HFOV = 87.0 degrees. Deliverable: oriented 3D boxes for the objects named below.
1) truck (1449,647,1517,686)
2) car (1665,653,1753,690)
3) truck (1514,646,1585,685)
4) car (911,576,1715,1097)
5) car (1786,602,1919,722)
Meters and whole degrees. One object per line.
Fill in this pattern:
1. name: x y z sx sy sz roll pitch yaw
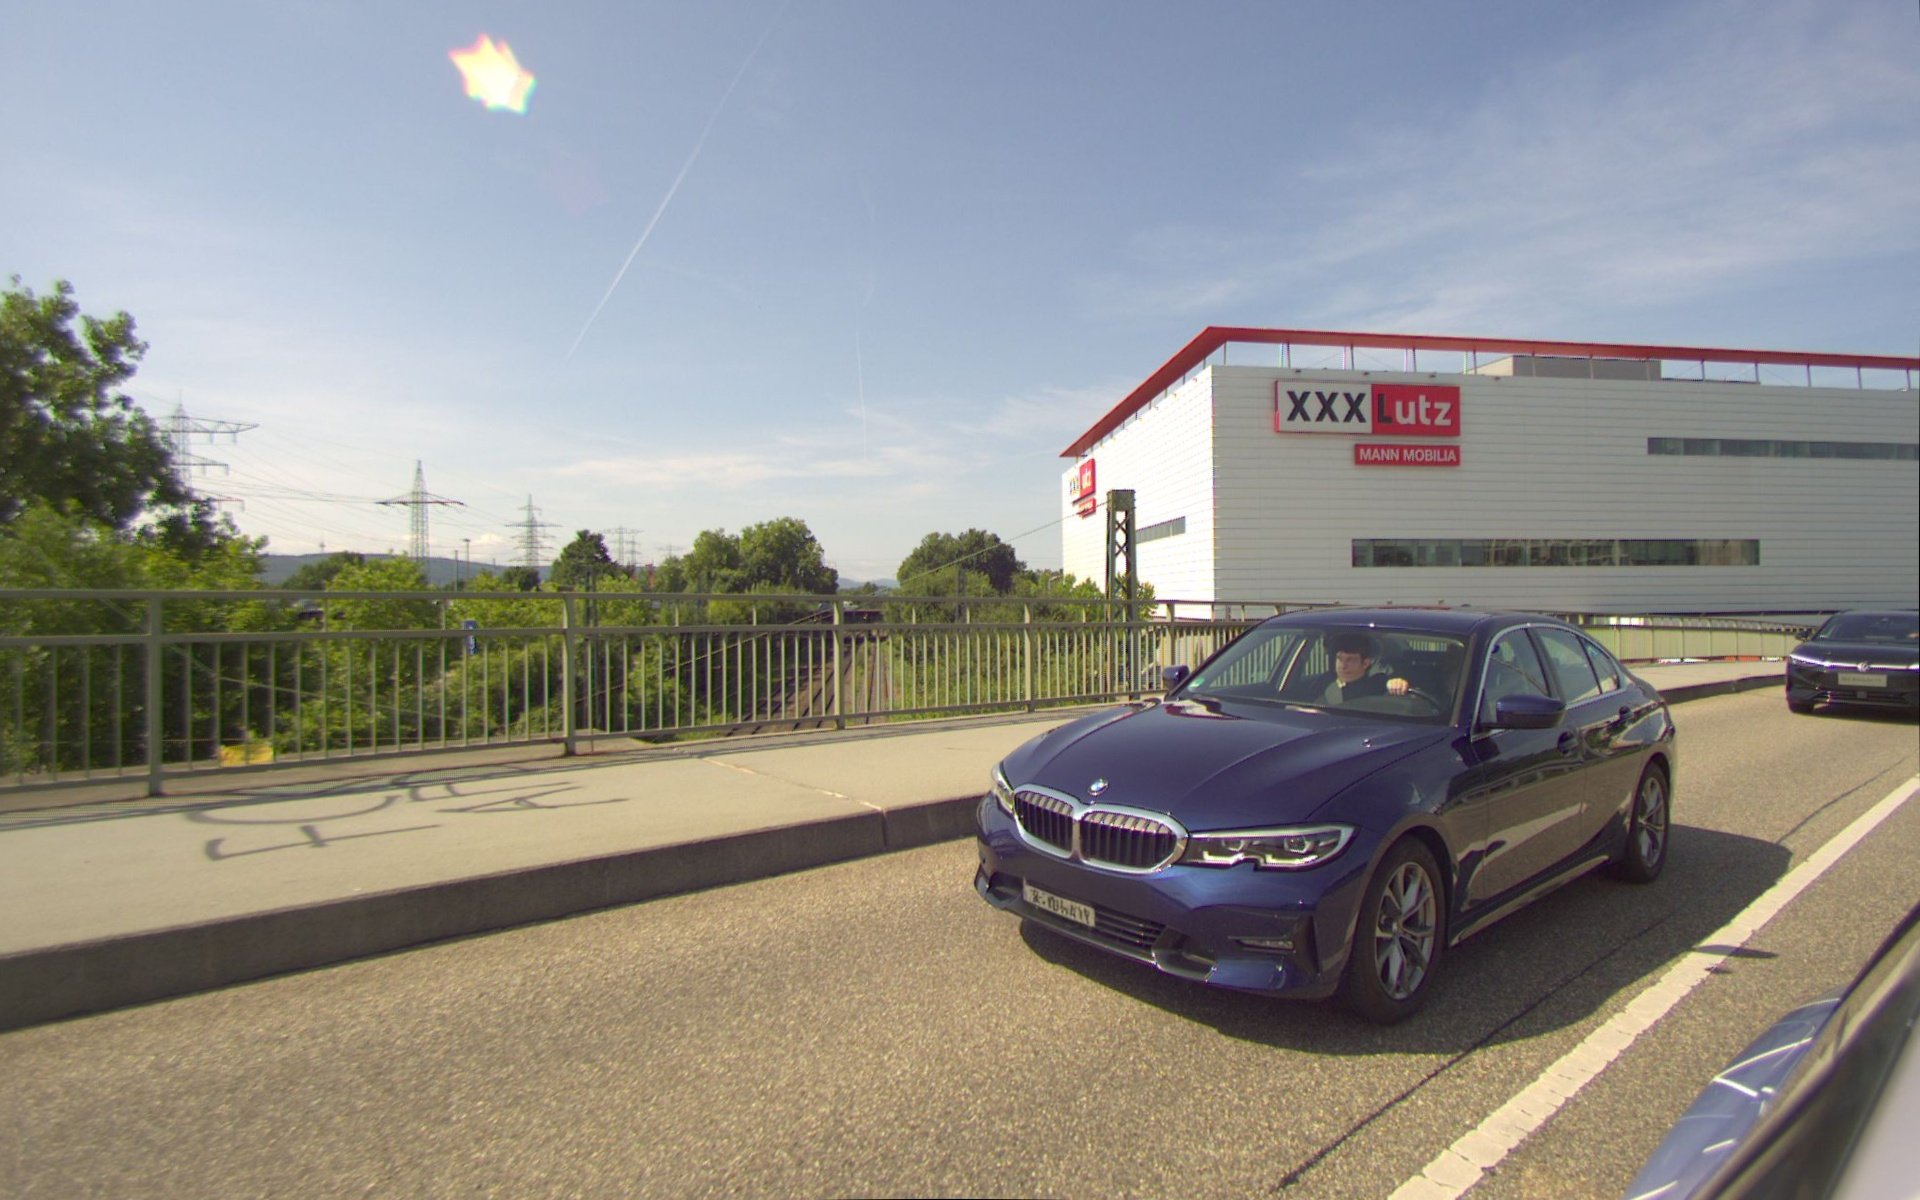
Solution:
1. truck: 44.963 5.705 87.215 2.088 2.964 6.020 -1 0 -8
2. car: 62.343 5.920 84.424 2.088 2.654 6.022 0 0 -11
3. truck: 51.427 5.650 88.431 2.088 2.964 6.020 -1 0 -8
4. car: 2.058 0.654 5.054 4.440 1.502 1.790 -1 0 -40
5. car: 13.940 0.824 15.006 4.070 1.548 1.860 -1 0 -40
